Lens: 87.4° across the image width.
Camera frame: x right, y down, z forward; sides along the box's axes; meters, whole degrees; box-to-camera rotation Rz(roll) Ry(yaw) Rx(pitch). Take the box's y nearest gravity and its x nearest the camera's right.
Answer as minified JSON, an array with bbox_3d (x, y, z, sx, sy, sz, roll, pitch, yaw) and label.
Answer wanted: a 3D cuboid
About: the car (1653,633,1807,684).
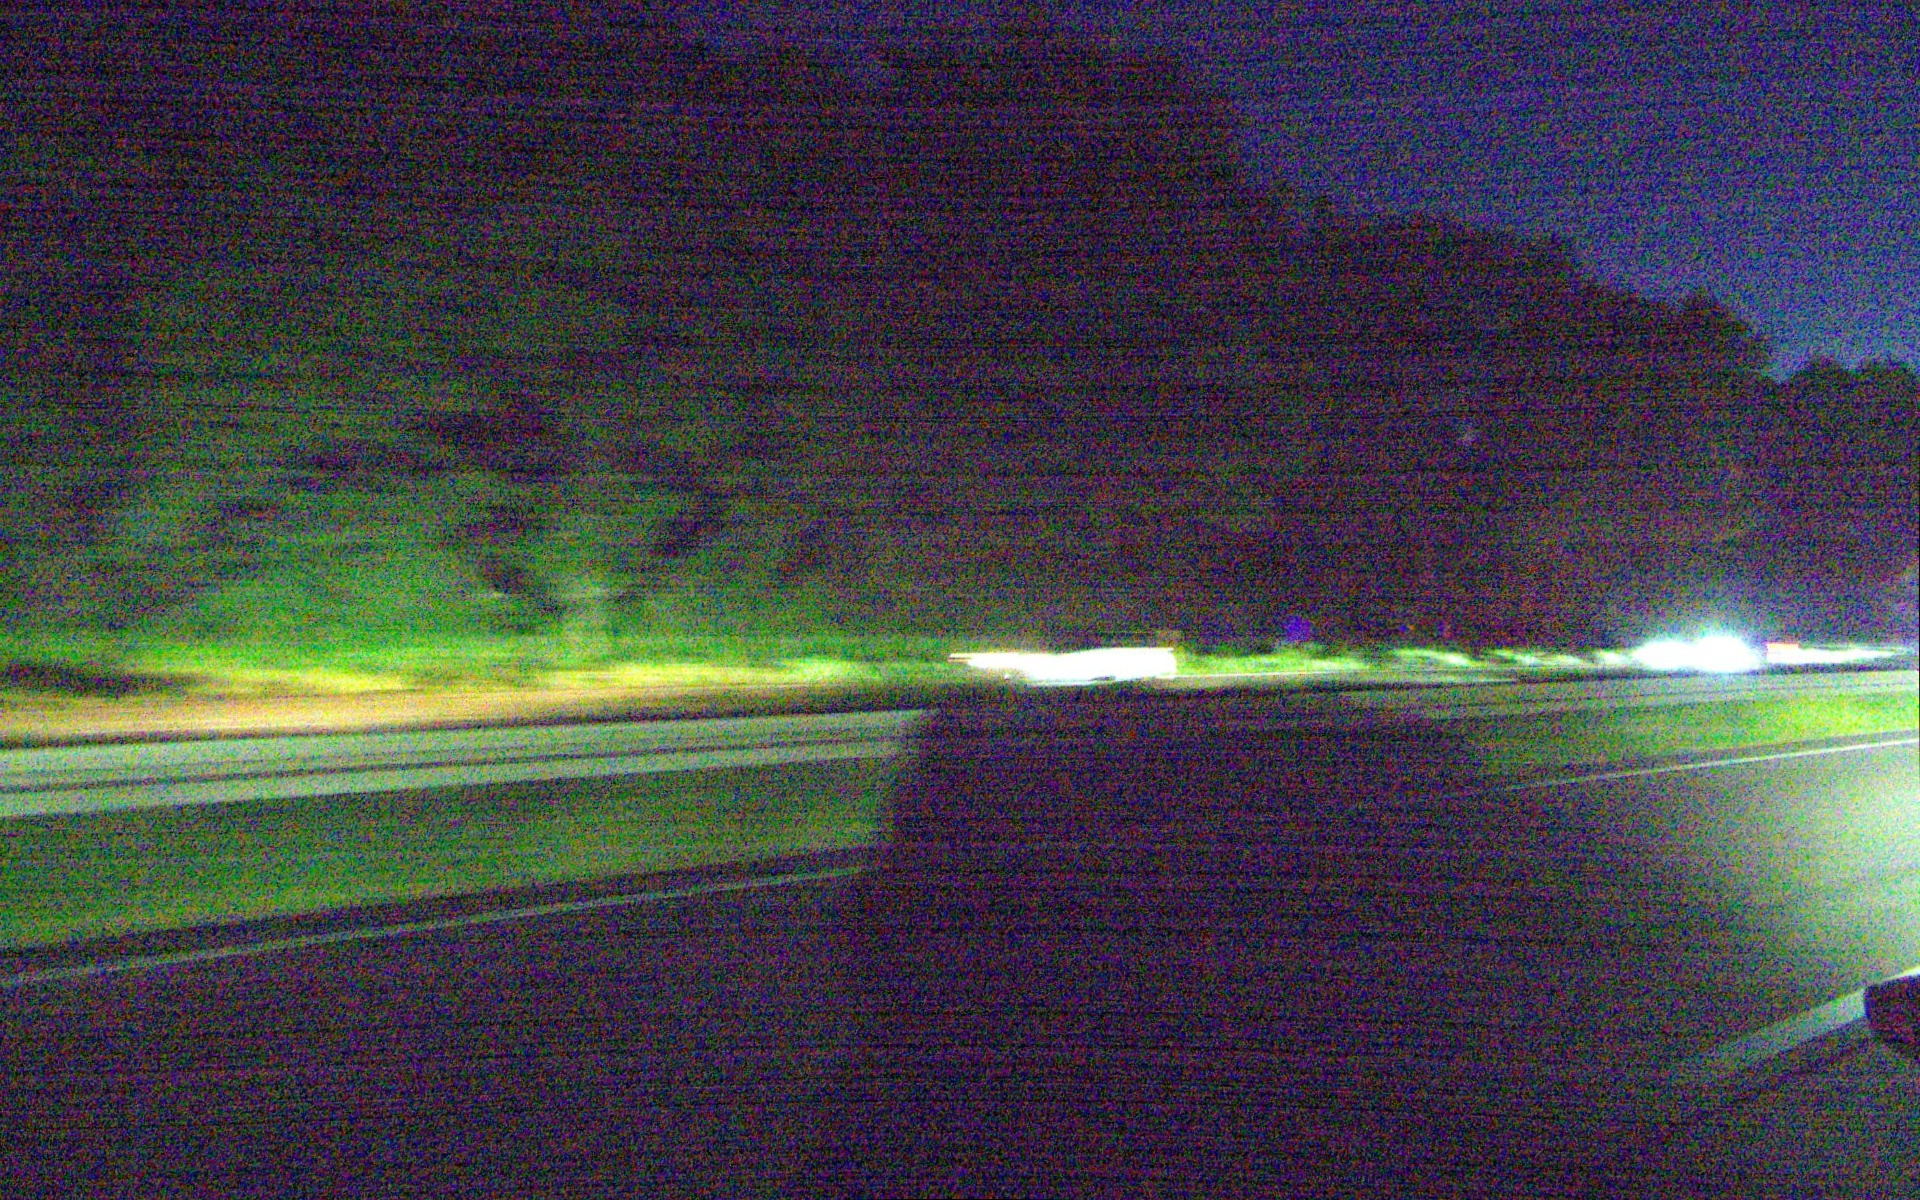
[{"bbox_3d":[23.376,1.739,30.477,4.412,1.476,1.952,1,-2,-26],"label":"car"}]

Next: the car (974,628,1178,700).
[{"bbox_3d":[2.569,1.374,22.243,4.115,1.476,1.952,1,-2,-26],"label":"car"}]
